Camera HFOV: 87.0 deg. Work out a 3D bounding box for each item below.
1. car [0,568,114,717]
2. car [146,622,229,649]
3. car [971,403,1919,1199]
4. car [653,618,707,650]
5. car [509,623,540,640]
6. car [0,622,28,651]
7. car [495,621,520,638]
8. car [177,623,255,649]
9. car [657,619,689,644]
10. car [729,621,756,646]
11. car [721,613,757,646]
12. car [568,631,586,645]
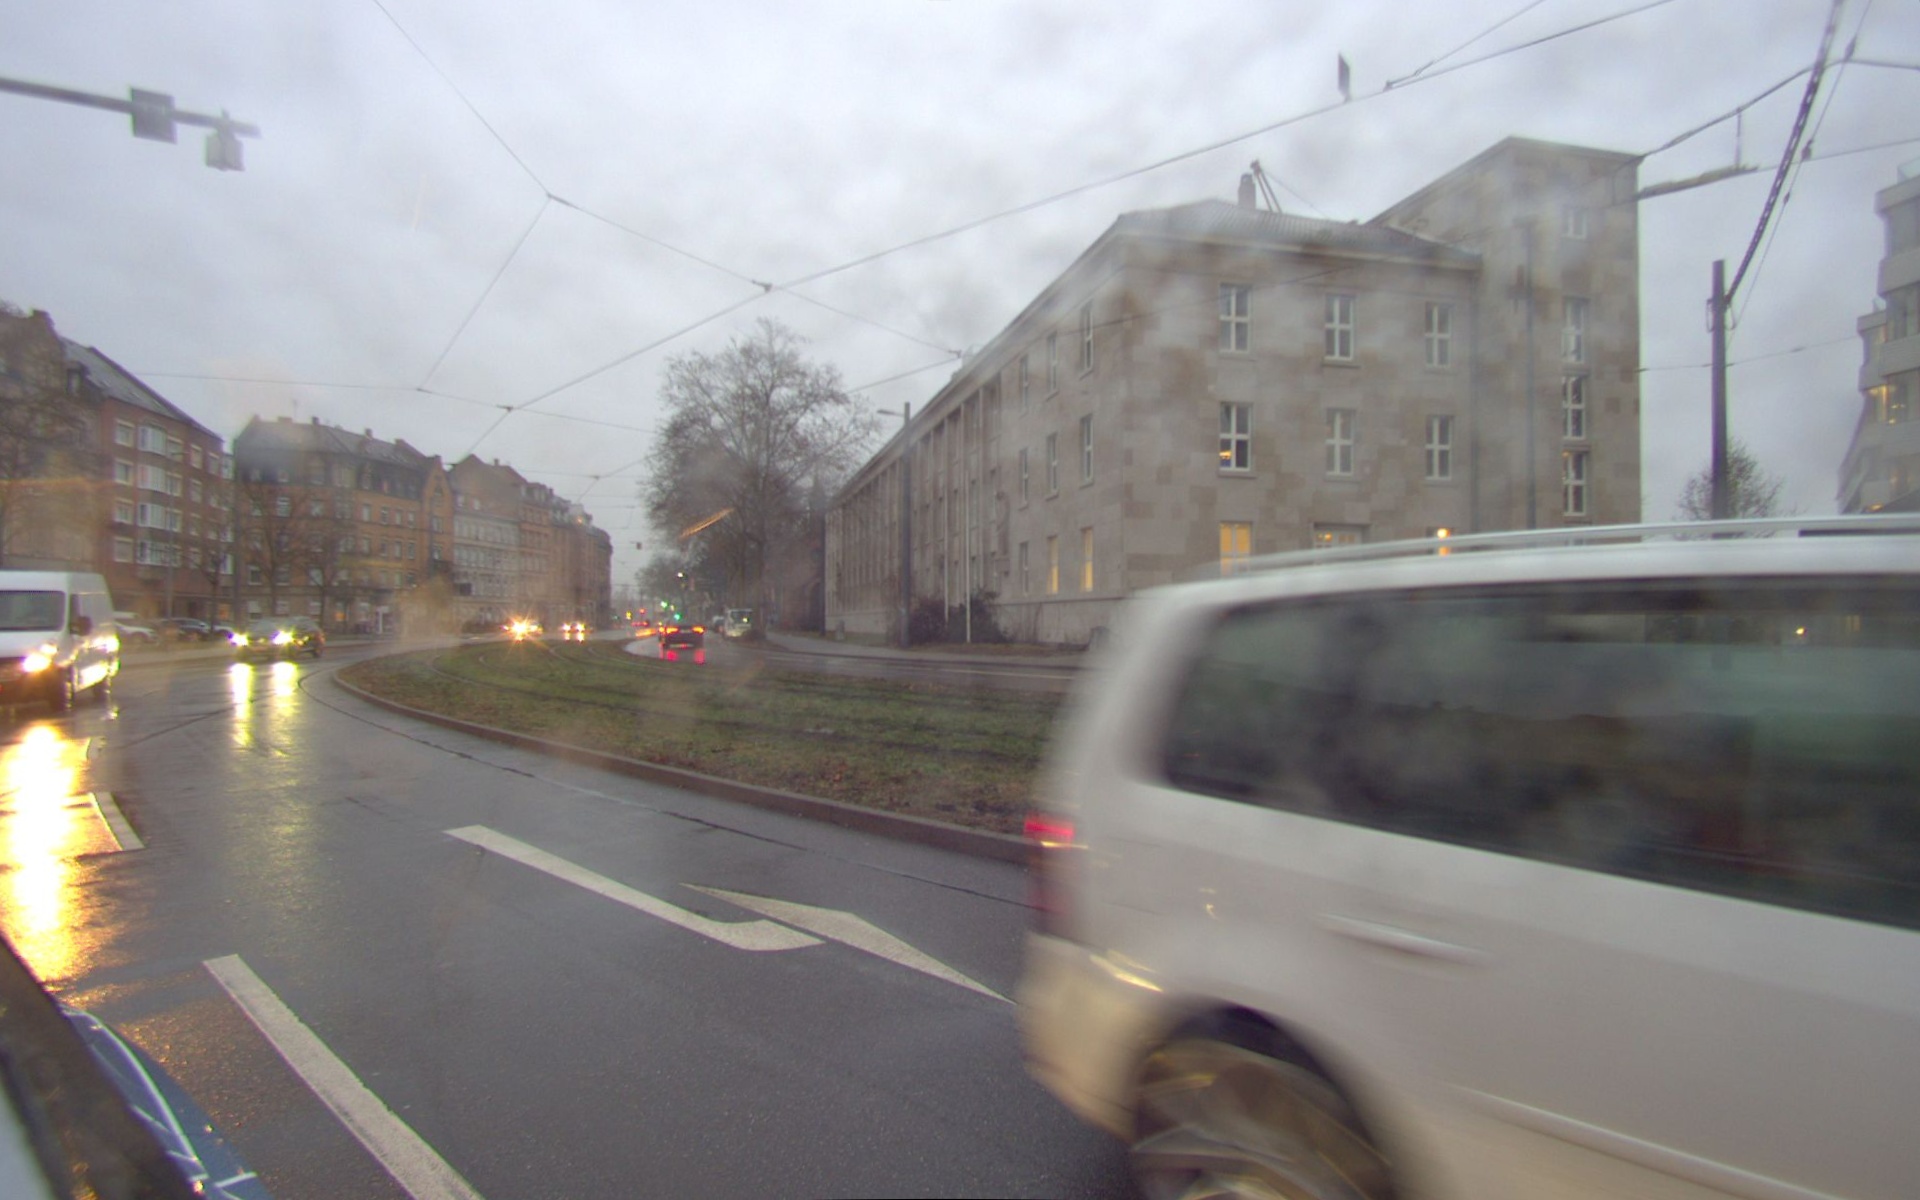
[{"bbox_3d":[-17.264,0.742,18.438,2.095,2.398,5.654,0,-1,-32],"label":"car"},{"bbox_3d":[-43.983,1.982,57.664,3.706,1.364,1.605,-2,0,-39],"label":"car"},{"bbox_3d":[2.127,0.544,1.674,4.148,1.672,1.652,-2,0,43],"label":"car"},{"bbox_3d":[-13.613,1.606,49.013,1.633,1.411,4.538,-2,0,-26],"label":"car"},{"bbox_3d":[-37.722,2.696,87.746,1.865,1.424,3.958,0,-2,-15],"label":"car"},{"bbox_3d":[-51.108,1.913,53.112,1.449,1.555,3.881,0,-2,-12],"label":"car"},{"bbox_3d":[-43.359,2.848,97.061,1.694,1.630,3.950,0,-2,-17],"label":"car"},{"bbox_3d":[-45.097,2.155,61.368,3.706,1.364,1.605,-2,0,-39],"label":"car"},{"bbox_3d":[-18.327,1.964,64.435,1.796,1.446,4.669,-2,0,-17],"label":"car"},{"bbox_3d":[-13.296,2.036,61.873,1.535,1.439,2.963,0,0,-14],"label":"car"},{"bbox_3d":[-14.479,1.884,66.218,1.966,2.029,4.522,-2,0,-15],"label":"car"},{"bbox_3d":[-44.039,4.336,116.348,1.809,1.497,3.533,0,-2,-22],"label":"car"}]
